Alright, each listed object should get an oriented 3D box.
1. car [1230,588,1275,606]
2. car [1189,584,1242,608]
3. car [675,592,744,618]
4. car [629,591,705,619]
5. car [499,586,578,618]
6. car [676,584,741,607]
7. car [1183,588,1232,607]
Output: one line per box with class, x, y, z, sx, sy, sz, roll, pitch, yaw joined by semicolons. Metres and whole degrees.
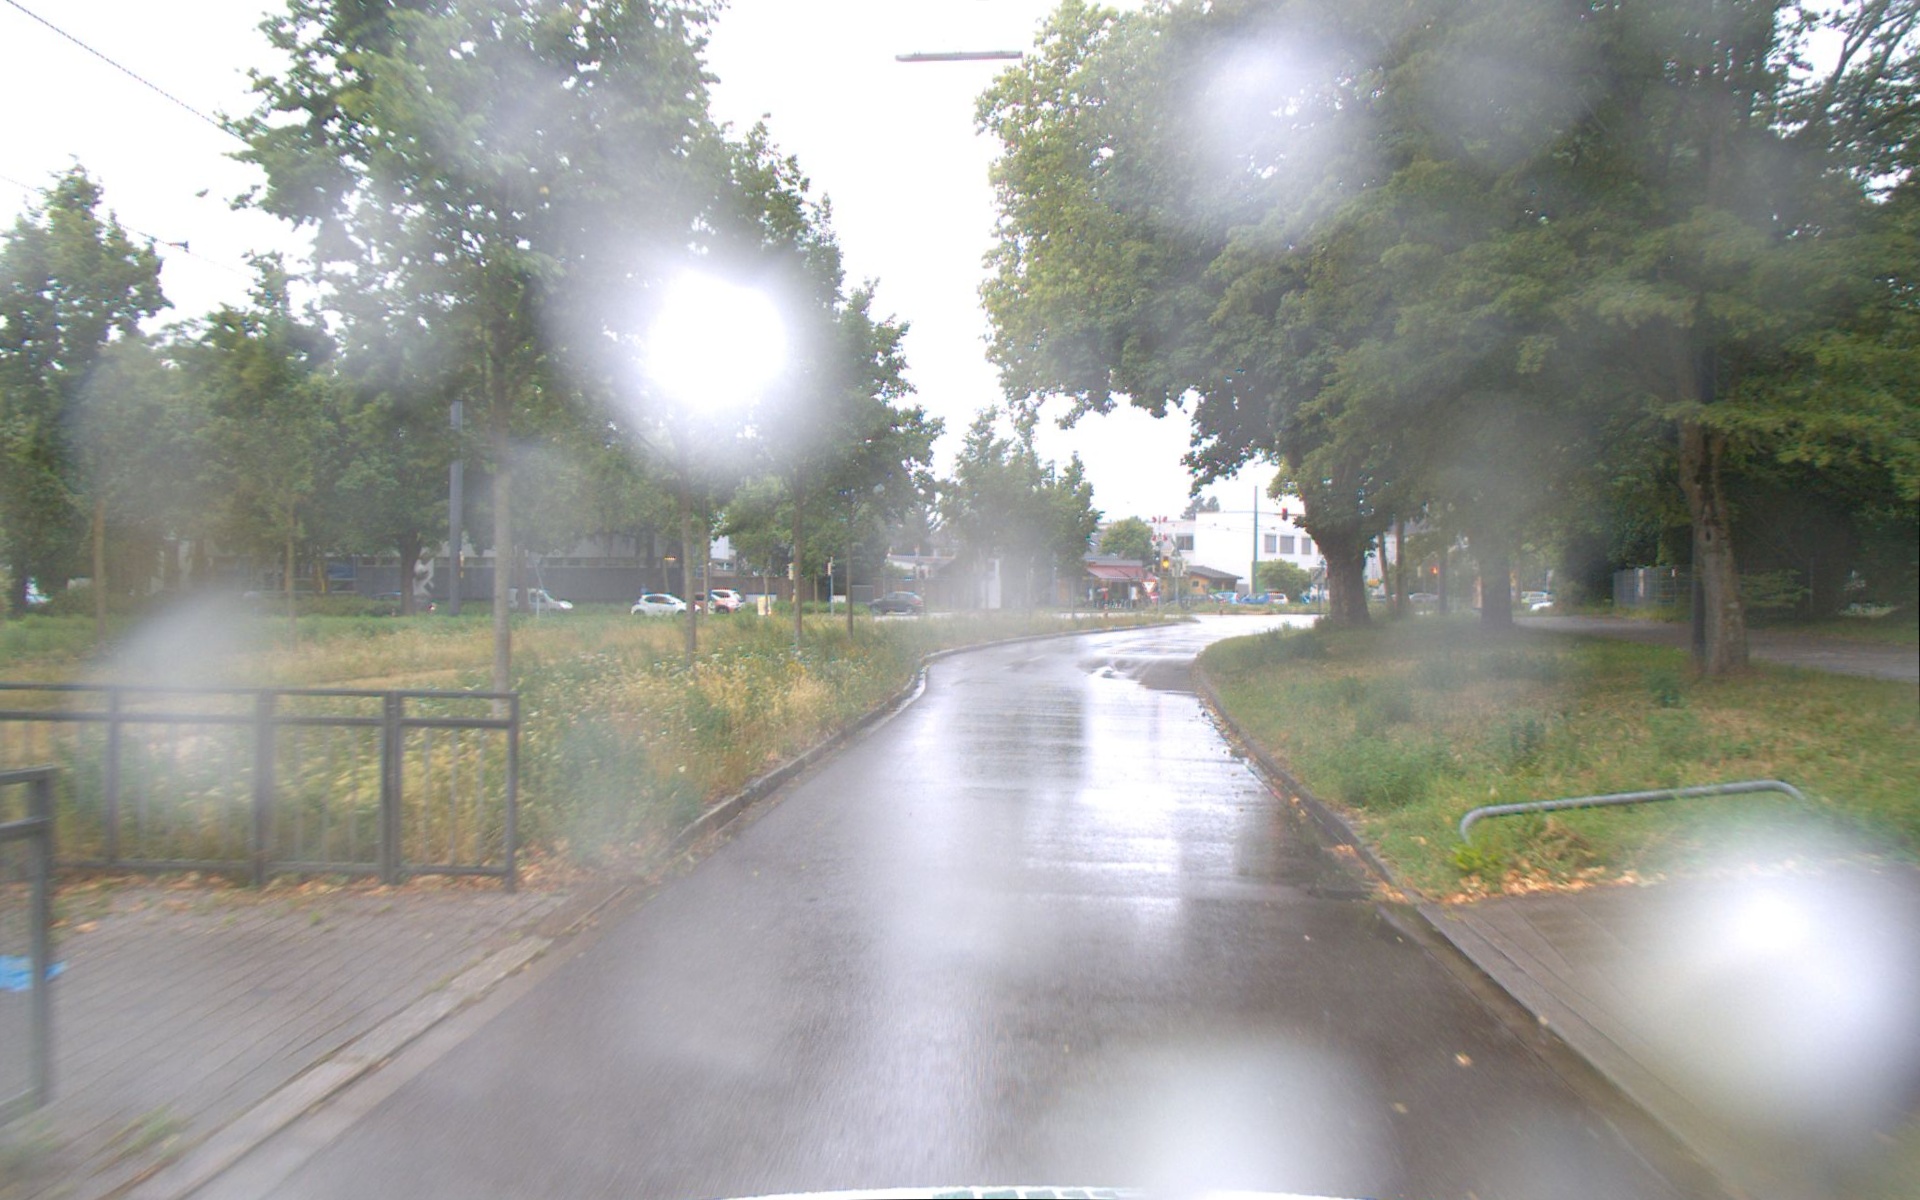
car;25.081;-0.237;141.799;3.670;1.467;1.764;-1;0;12
car;21.310;-0.323;137.831;4.052;1.892;1.672;-1;0;25
car;-14.910;0.297;98.629;3.737;1.525;1.653;-1;0;6
car;-16.841;0.284;95.001;3.979;1.525;1.653;-1;0;6
car;-24.471;0.127;96.140;4.121;1.828;1.653;0;1;4
car;-16.324;-0.319;107.453;3.903;1.445;1.539;-1;0;3
car;20.123;-0.190;134.591;3.673;1.467;1.763;-1;0;21
